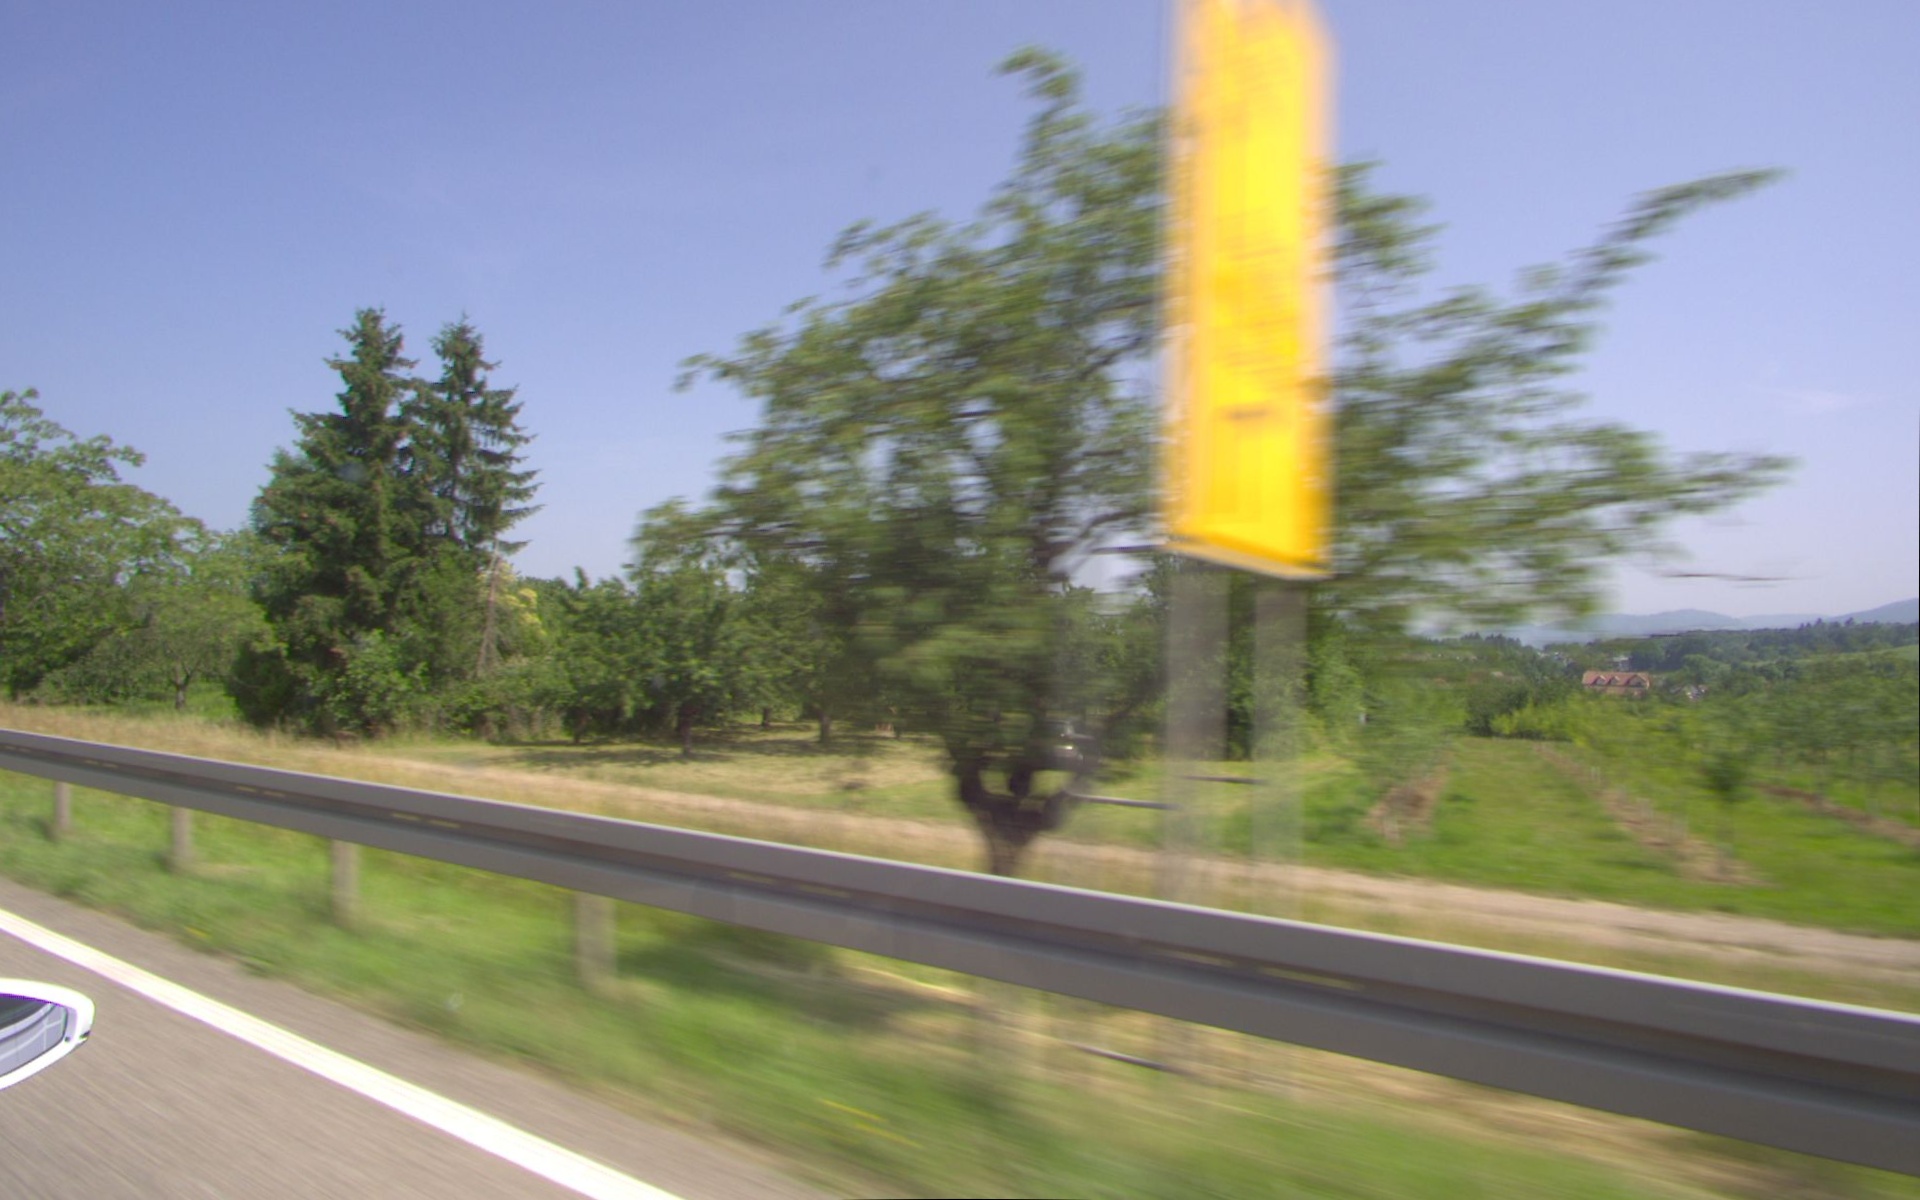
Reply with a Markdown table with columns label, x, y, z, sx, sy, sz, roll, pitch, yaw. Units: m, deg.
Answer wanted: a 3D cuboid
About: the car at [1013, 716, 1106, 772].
| label | x | y | z | sx | sy | sz | roll | pitch | yaw |
| --- | --- | --- | --- | --- | --- | --- | --- | --- | --- |
| car | 3.259 | 4.557 | 32.114 | 1.826 | 1.552 | 4.087 | -1 | -6 | 23 |
